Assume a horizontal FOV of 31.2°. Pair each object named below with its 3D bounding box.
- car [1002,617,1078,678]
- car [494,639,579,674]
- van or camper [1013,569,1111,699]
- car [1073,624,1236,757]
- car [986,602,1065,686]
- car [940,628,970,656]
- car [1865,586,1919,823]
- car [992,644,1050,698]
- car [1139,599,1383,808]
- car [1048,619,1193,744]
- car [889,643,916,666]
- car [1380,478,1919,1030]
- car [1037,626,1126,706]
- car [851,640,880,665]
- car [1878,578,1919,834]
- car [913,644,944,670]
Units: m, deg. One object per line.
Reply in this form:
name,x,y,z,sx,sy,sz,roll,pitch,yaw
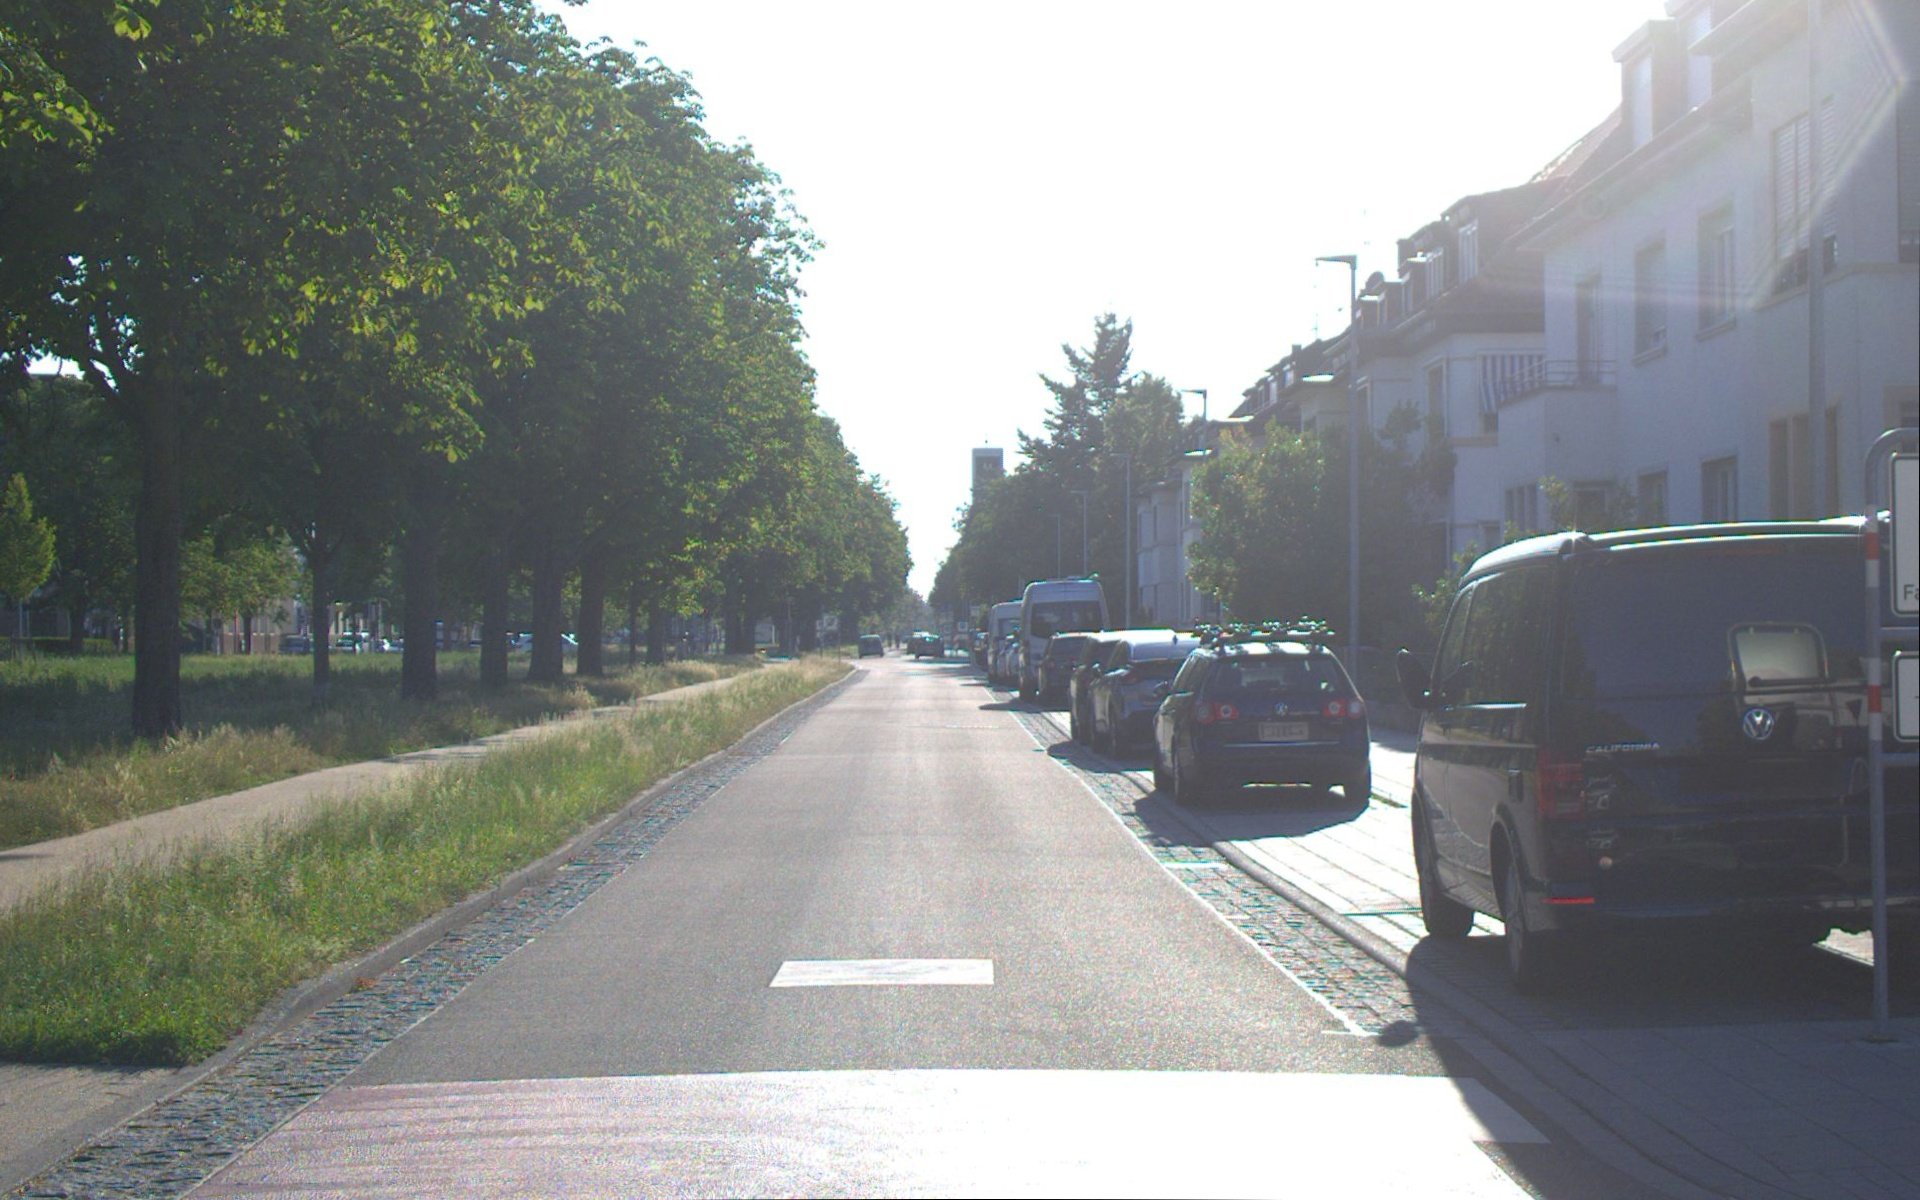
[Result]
car,2.207,1.308,96.141,1.837,1.630,4.131,-1,0,-2
car,-22.261,2.955,180.585,4.345,1.758,2.000,1,-1,-9
van or camper,2.254,0.805,77.413,1.943,2.768,5.939,1,-1,0
car,2.454,1.140,44.232,1.718,1.569,4.210,-2,-1,-1
car,2.021,1.360,107.821,2.126,2.524,5.189,-1,0,-2
car,-0.276,2.390,195.398,1.650,1.525,3.850,-2,0,1
car,9.027,0.727,25.221,4.216,1.720,1.853,-1,-1,-4
car,1.780,2.088,101.642,1.650,1.525,3.850,-1,0,1
car,2.771,0.928,32.509,1.794,1.765,4.472,-2,0,-1
car,2.304,1.152,50.261,1.832,1.679,4.415,2,0,0
car,-4.121,3.852,244.148,1.863,1.591,3.870,1,-1,-1
car,3.231,0.620,16.027,1.906,2.125,4.814,-2,0,0
car,2.482,1.355,71.038,1.663,1.587,4.085,1,-1,0
car,-6.312,3.523,229.360,1.863,1.591,3.870,1,-1,-1
car,8.569,0.748,23.154,4.216,1.720,1.853,1,-1,-4
car,-1.977,3.531,213.774,1.863,1.591,3.894,0,0,-1
